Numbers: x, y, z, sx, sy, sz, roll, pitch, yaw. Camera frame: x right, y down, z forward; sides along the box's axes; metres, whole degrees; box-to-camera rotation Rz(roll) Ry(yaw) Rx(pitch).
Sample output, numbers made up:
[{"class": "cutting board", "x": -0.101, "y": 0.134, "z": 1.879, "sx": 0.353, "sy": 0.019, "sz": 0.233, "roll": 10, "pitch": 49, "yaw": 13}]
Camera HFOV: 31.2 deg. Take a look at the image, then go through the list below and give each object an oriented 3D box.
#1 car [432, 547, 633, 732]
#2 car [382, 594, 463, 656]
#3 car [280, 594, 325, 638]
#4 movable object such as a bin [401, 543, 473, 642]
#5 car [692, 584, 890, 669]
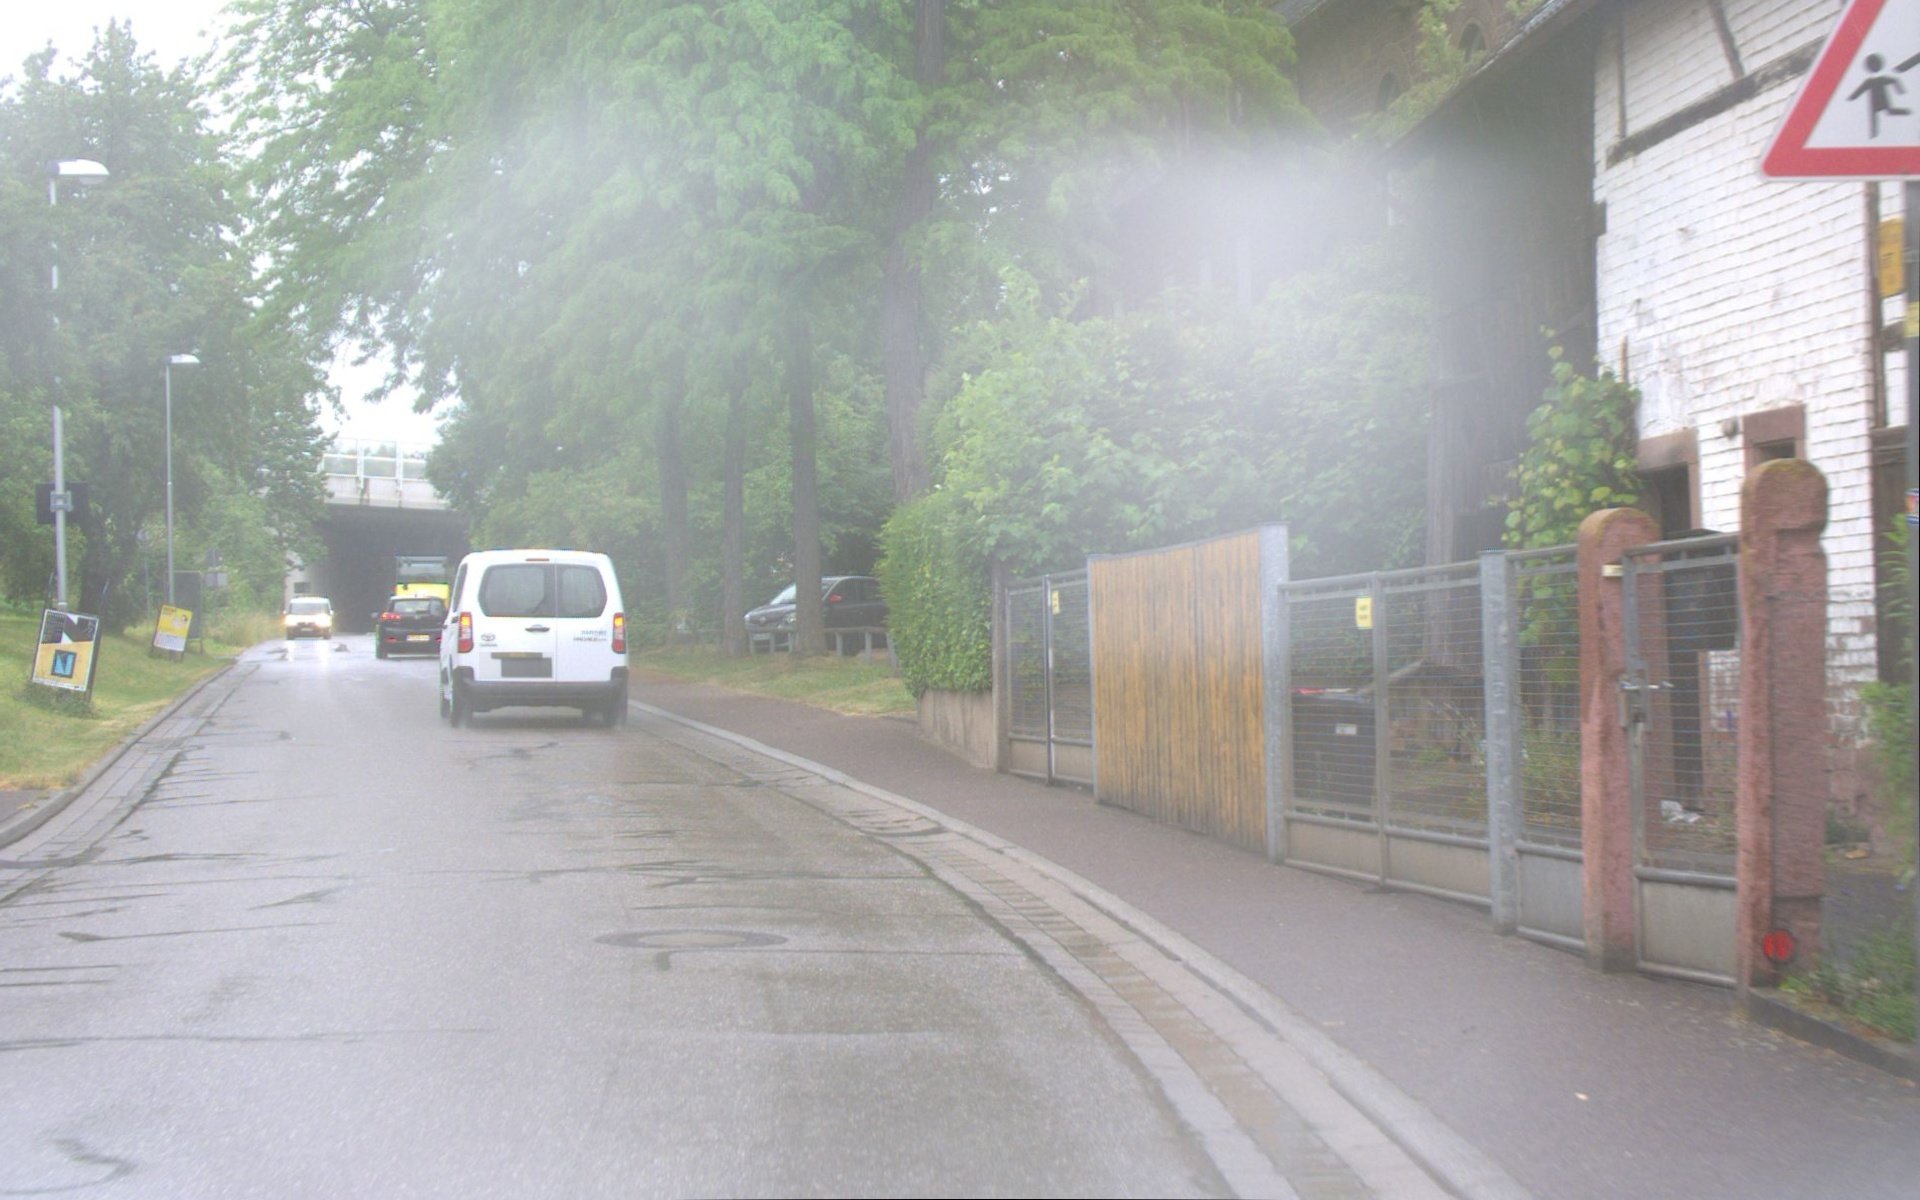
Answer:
[{"class": "car", "x": -4.543, "y": 0.384, "z": 36.088, "sx": 1.896, "sy": 1.801, "sz": 4.001, "roll": -1, "pitch": 0, "yaw": -9}, {"class": "car", "x": -12.360, "y": 0.594, "z": 79.190, "sx": 1.708, "sy": 1.373, "sz": 4.001, "roll": 1, "pitch": -1, "yaw": -7}, {"class": "car", "x": -28.004, "y": 0.712, "z": 146.452, "sx": 1.823, "sy": 1.825, "sz": 4.308, "roll": 0, "pitch": -1, "yaw": -11}, {"class": "movable object such as a bin", "x": -13.819, "y": -0.166, "z": 91.006, "sx": 1.761, "sy": 2.539, "sz": 4.239, "roll": 1, "pitch": -1, "yaw": -8}, {"class": "car", "x": -3.184, "y": 0.498, "z": 65.342, "sx": 1.621, "sy": 1.546, "sz": 3.604, "roll": -2, "pitch": -1, "yaw": 44}]
